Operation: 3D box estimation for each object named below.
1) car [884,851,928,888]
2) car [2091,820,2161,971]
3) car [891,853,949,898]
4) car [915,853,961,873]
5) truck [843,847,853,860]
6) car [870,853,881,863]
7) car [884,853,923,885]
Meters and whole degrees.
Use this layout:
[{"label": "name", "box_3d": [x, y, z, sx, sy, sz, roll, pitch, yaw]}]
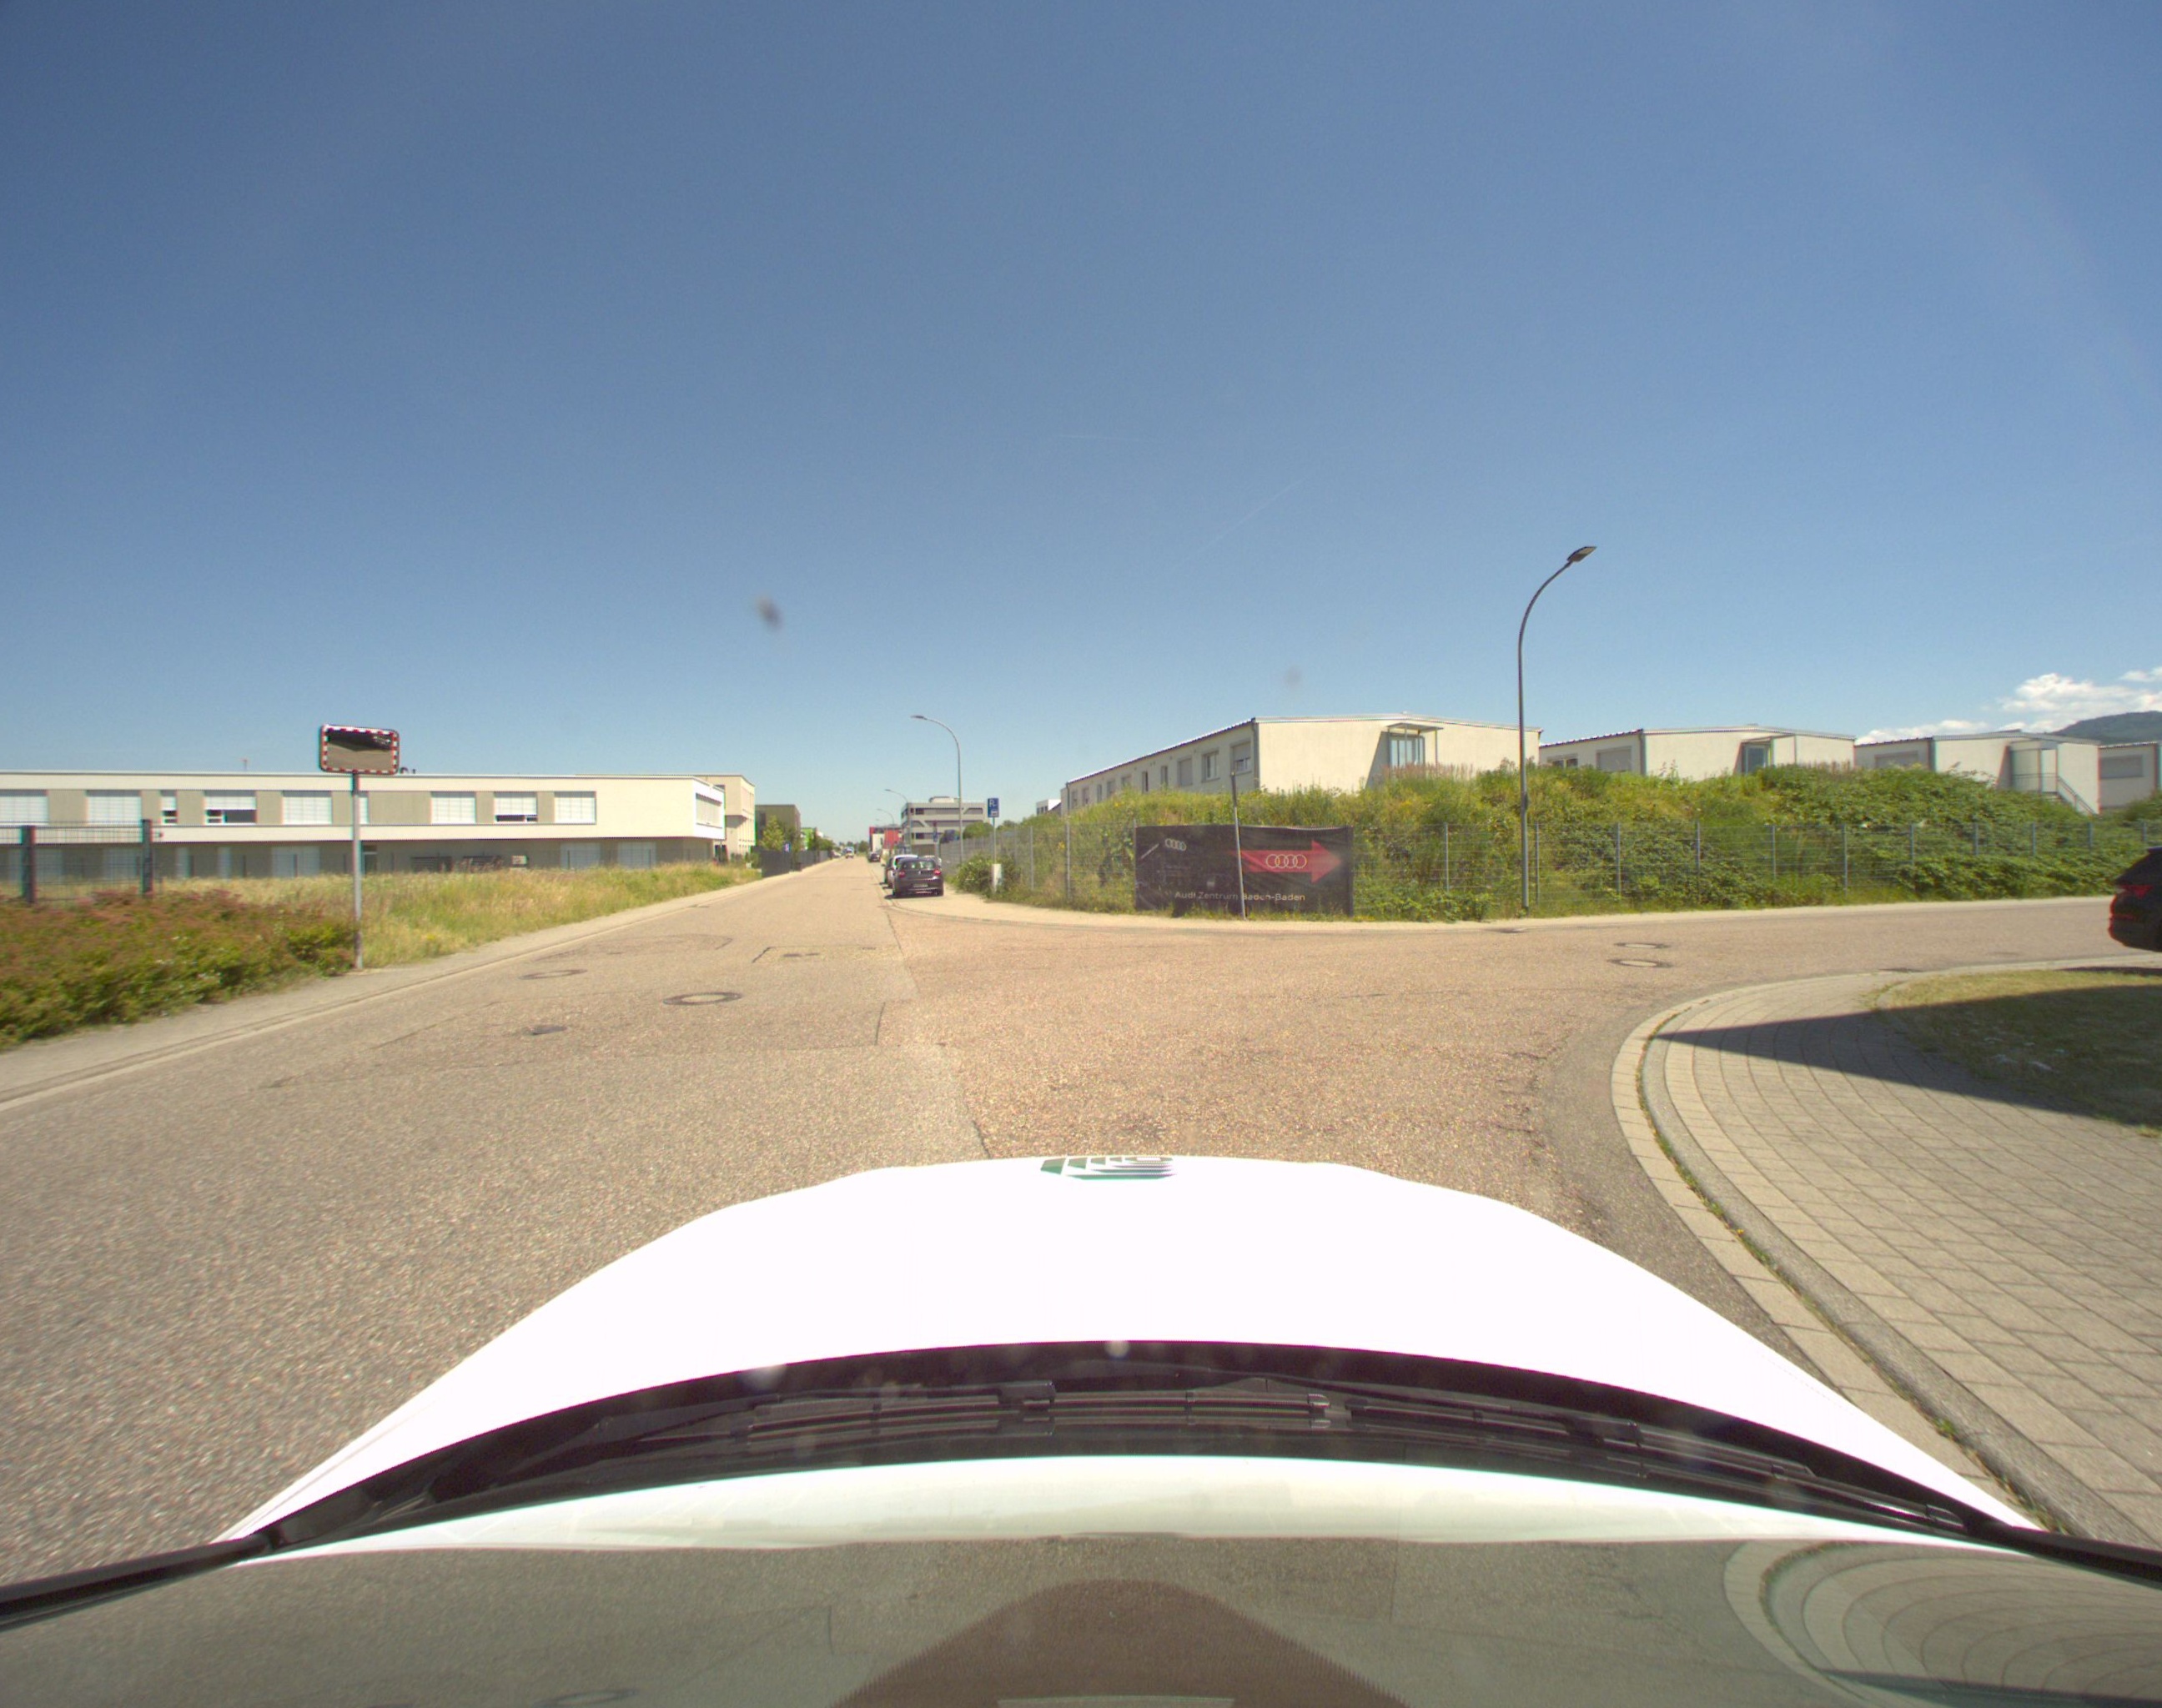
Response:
[{"label": "car", "box_3d": [-8.403, 0.694, 39.092, 1.909, 1.546, 3.983, -3, 1, -12]}, {"label": "car", "box_3d": [13.709, 0.452, 8.267, 1.720, 1.765, 3.984, -1, -1, -11]}, {"label": "car", "box_3d": [-5.972, 0.725, 30.066, 1.909, 1.448, 3.983, -3, 1, -12]}, {"label": "car", "box_3d": [-14.990, 0.929, 85.081, 4.629, 2.013, 2.596, 1, 0, -12]}, {"label": "truck", "box_3d": [-68.113, -0.159, 237.810, 2.606, 3.544, 10.439, -2, 1, -17]}, {"label": "car", "box_3d": [-34.436, 0.648, 136.461, 1.779, 1.728, 3.980, 1, 0, -15]}, {"label": "car", "box_3d": [-9.703, 0.765, 44.577, 1.909, 1.546, 3.983, -3, 1, -12]}]
